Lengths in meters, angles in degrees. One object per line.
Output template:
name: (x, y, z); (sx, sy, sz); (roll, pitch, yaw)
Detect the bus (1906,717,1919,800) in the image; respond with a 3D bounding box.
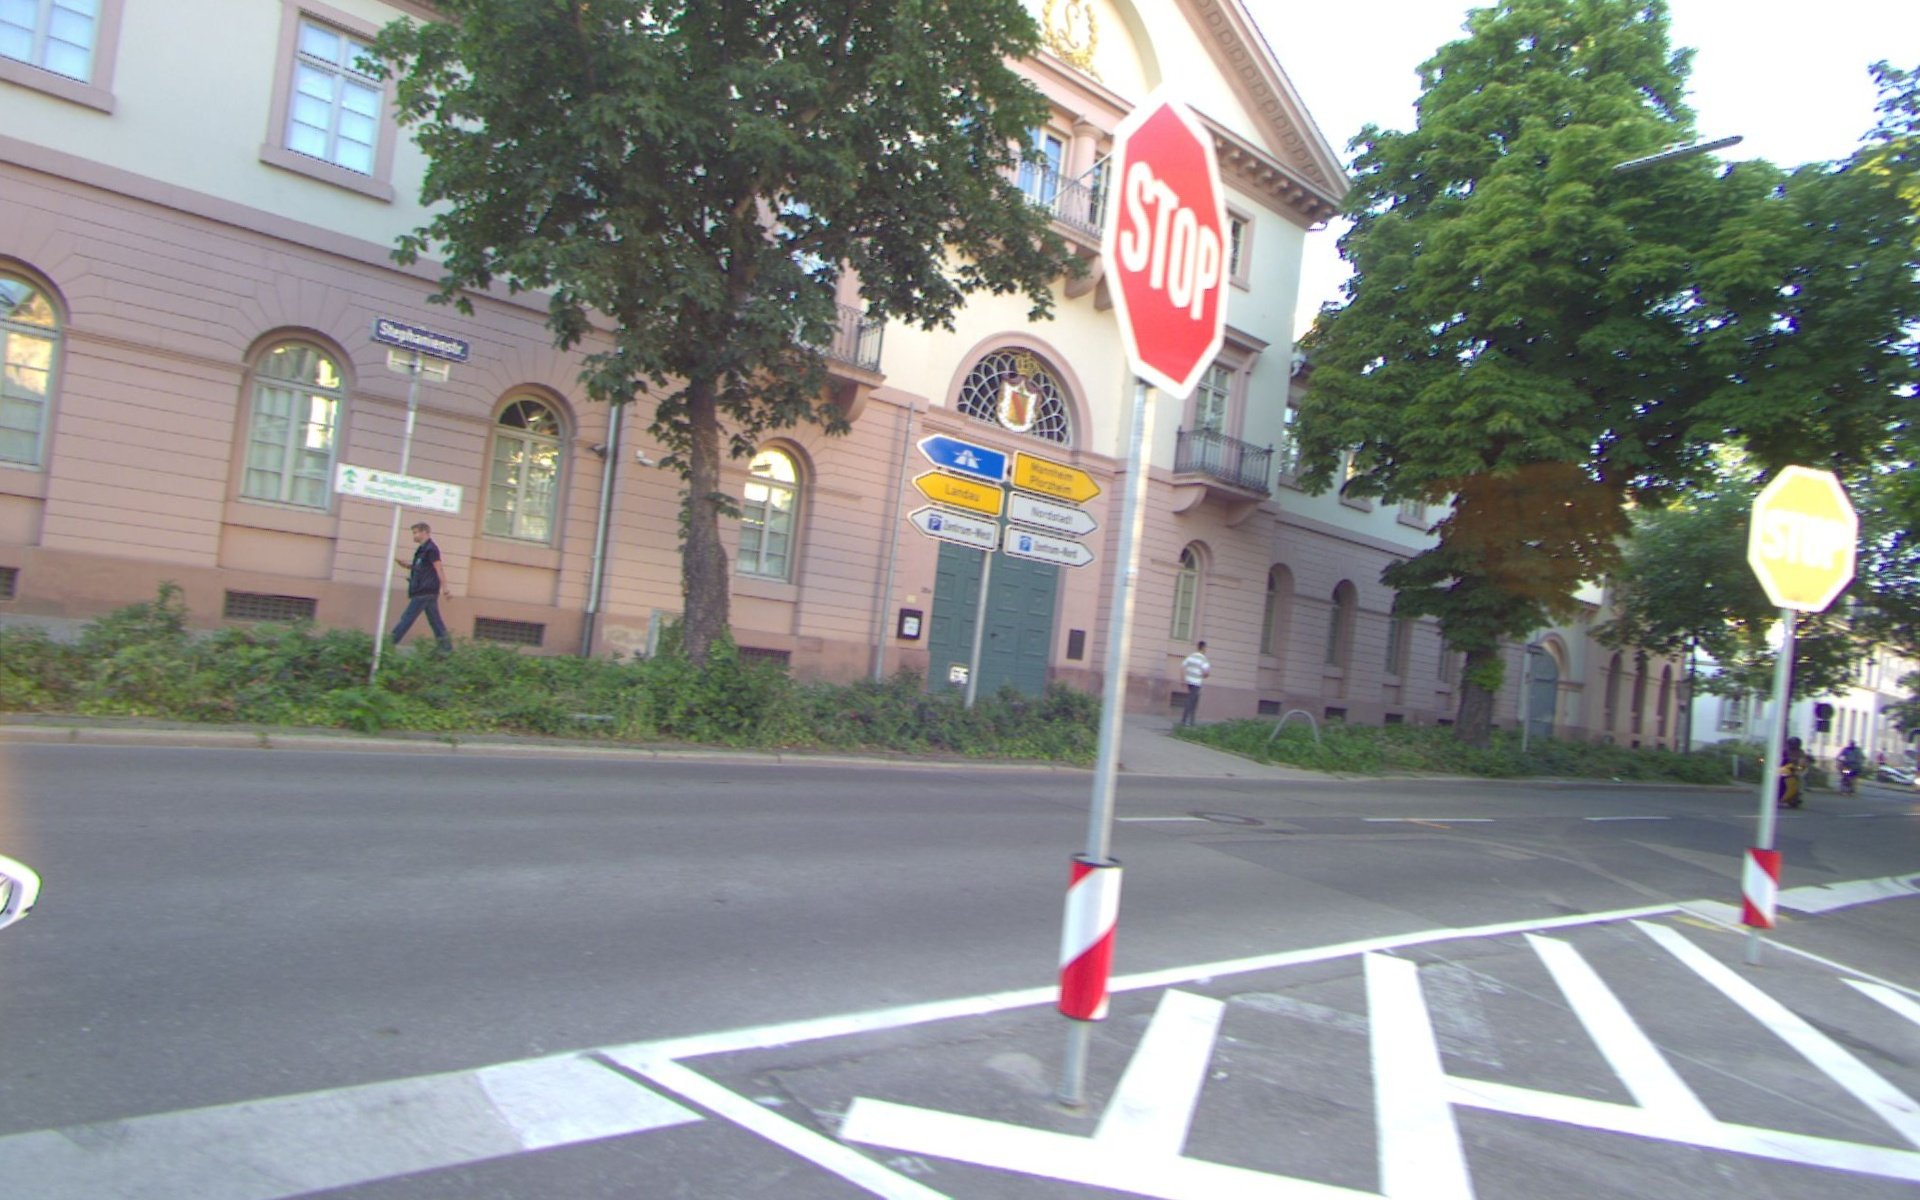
bus: (40.984, 6.626, 39.993); (11.979, 3.033, 2.689); (9, -4, -36)

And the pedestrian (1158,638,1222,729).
pedestrian: (4.999, 1.824, 21.896); (0.924, 1.853, 0.791); (8, -1, -43)

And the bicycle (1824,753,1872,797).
bicycle: (30.018, 5.916, 34.002); (2.060, 1.344, 0.777); (8, -4, -36)

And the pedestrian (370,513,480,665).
pedestrian: (-7.176, -0.131, 13.487); (1.072, 1.860, 0.794); (7, -1, -33)

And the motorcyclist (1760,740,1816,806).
motorcyclist: (19.792, 4.136, 24.046); (0.692, 1.436, 0.787); (7, -2, -33)

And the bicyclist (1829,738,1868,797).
bicyclist: (30.031, 5.666, 34.001); (0.819, 1.860, 0.777); (7, -3, -36)

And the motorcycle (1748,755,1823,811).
motorcycle: (19.690, 4.364, 23.993); (1.948, 1.173, 0.787); (8, -3, -33)
